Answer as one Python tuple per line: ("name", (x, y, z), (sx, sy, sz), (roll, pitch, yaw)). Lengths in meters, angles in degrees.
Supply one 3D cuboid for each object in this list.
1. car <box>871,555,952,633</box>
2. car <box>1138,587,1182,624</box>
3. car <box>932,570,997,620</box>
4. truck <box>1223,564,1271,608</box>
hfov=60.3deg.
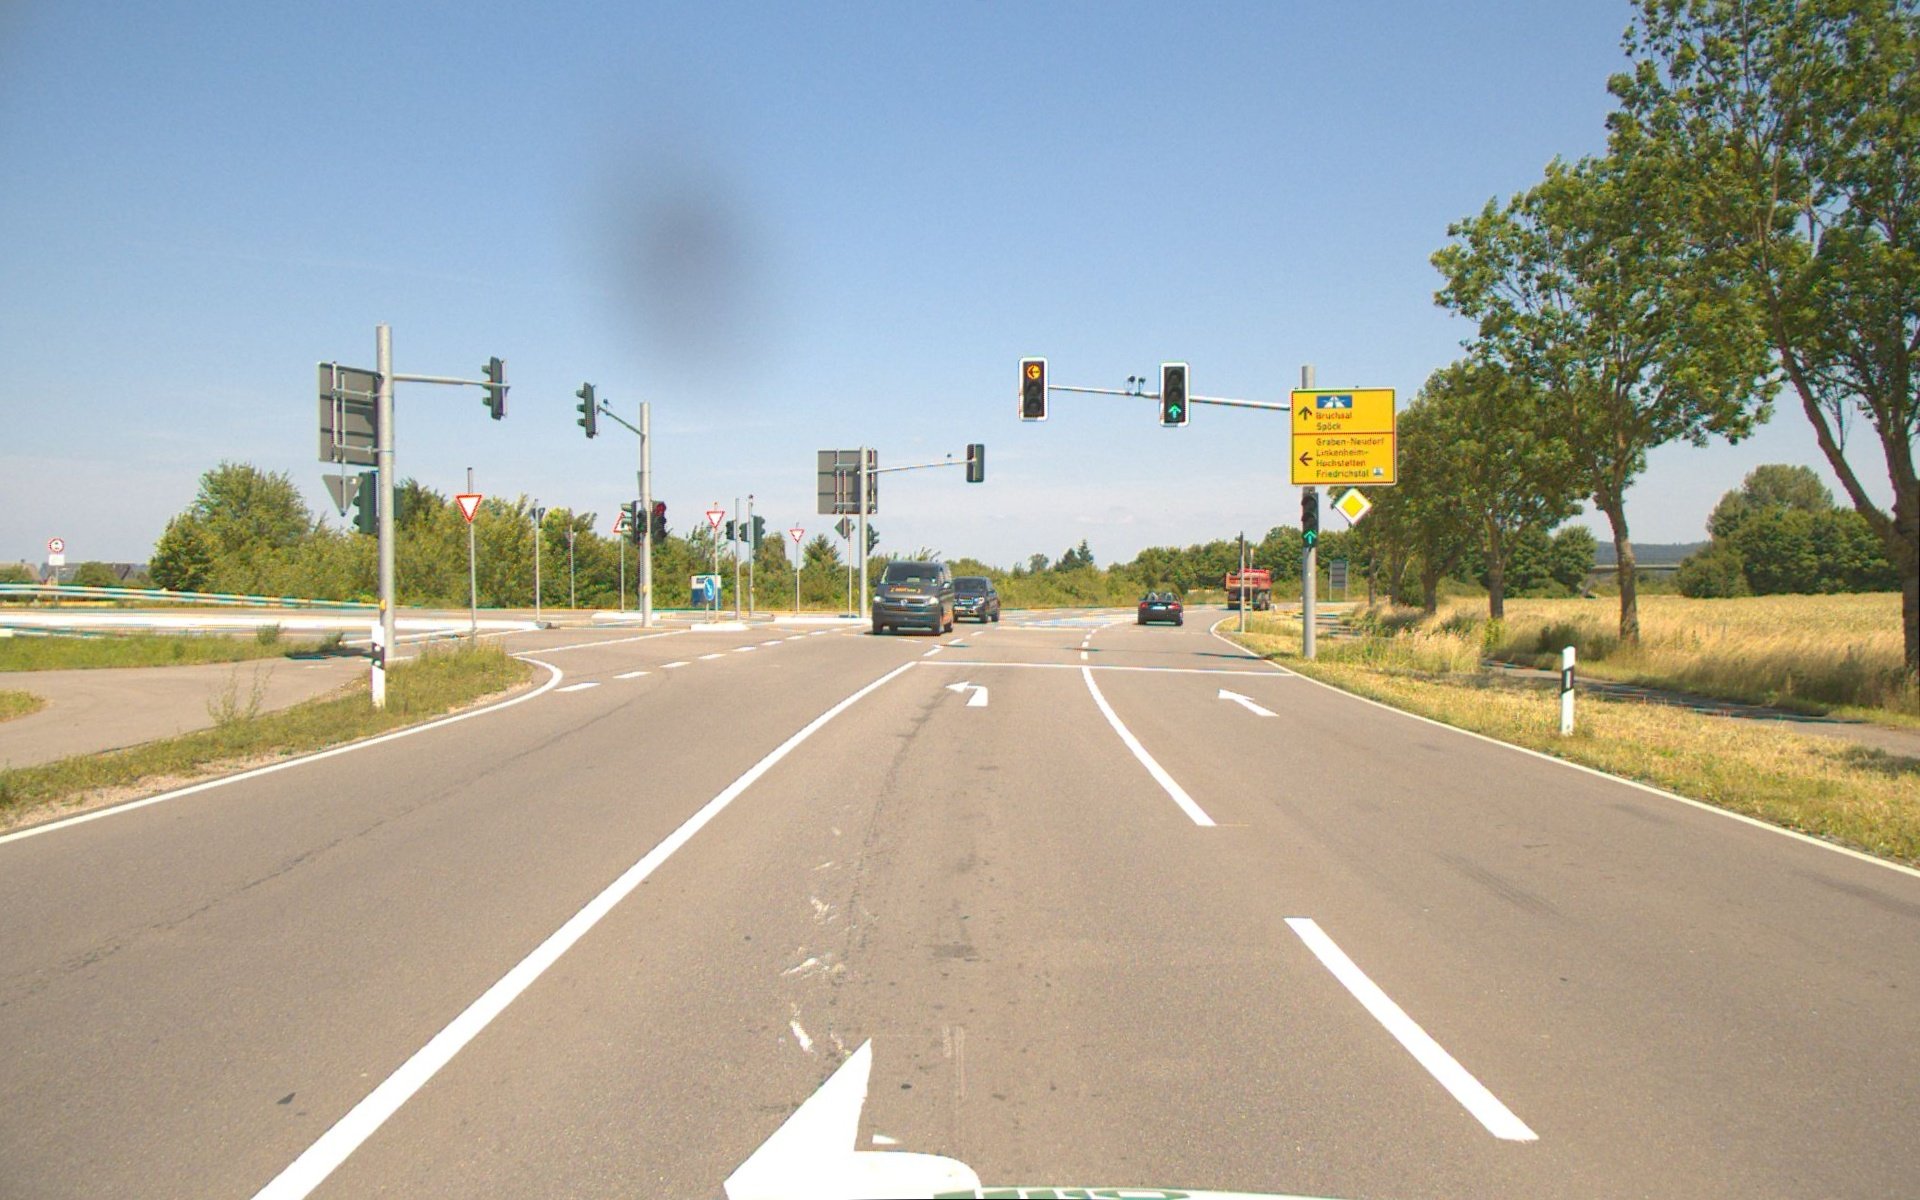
("car", (-1.286, -0.190, 45.559), (1.890, 2.012, 4.686), (1, 1, 2))
("car", (8.009, 0.251, 66.431), (1.710, 1.400, 3.681), (1, -1, 6))
("car", (0.220, -0.198, 61.644), (1.889, 1.770, 4.893), (1, 1, 6))
("truck", (21.531, -1.011, 123.917), (2.656, 3.106, 8.169), (0, 0, 16))
